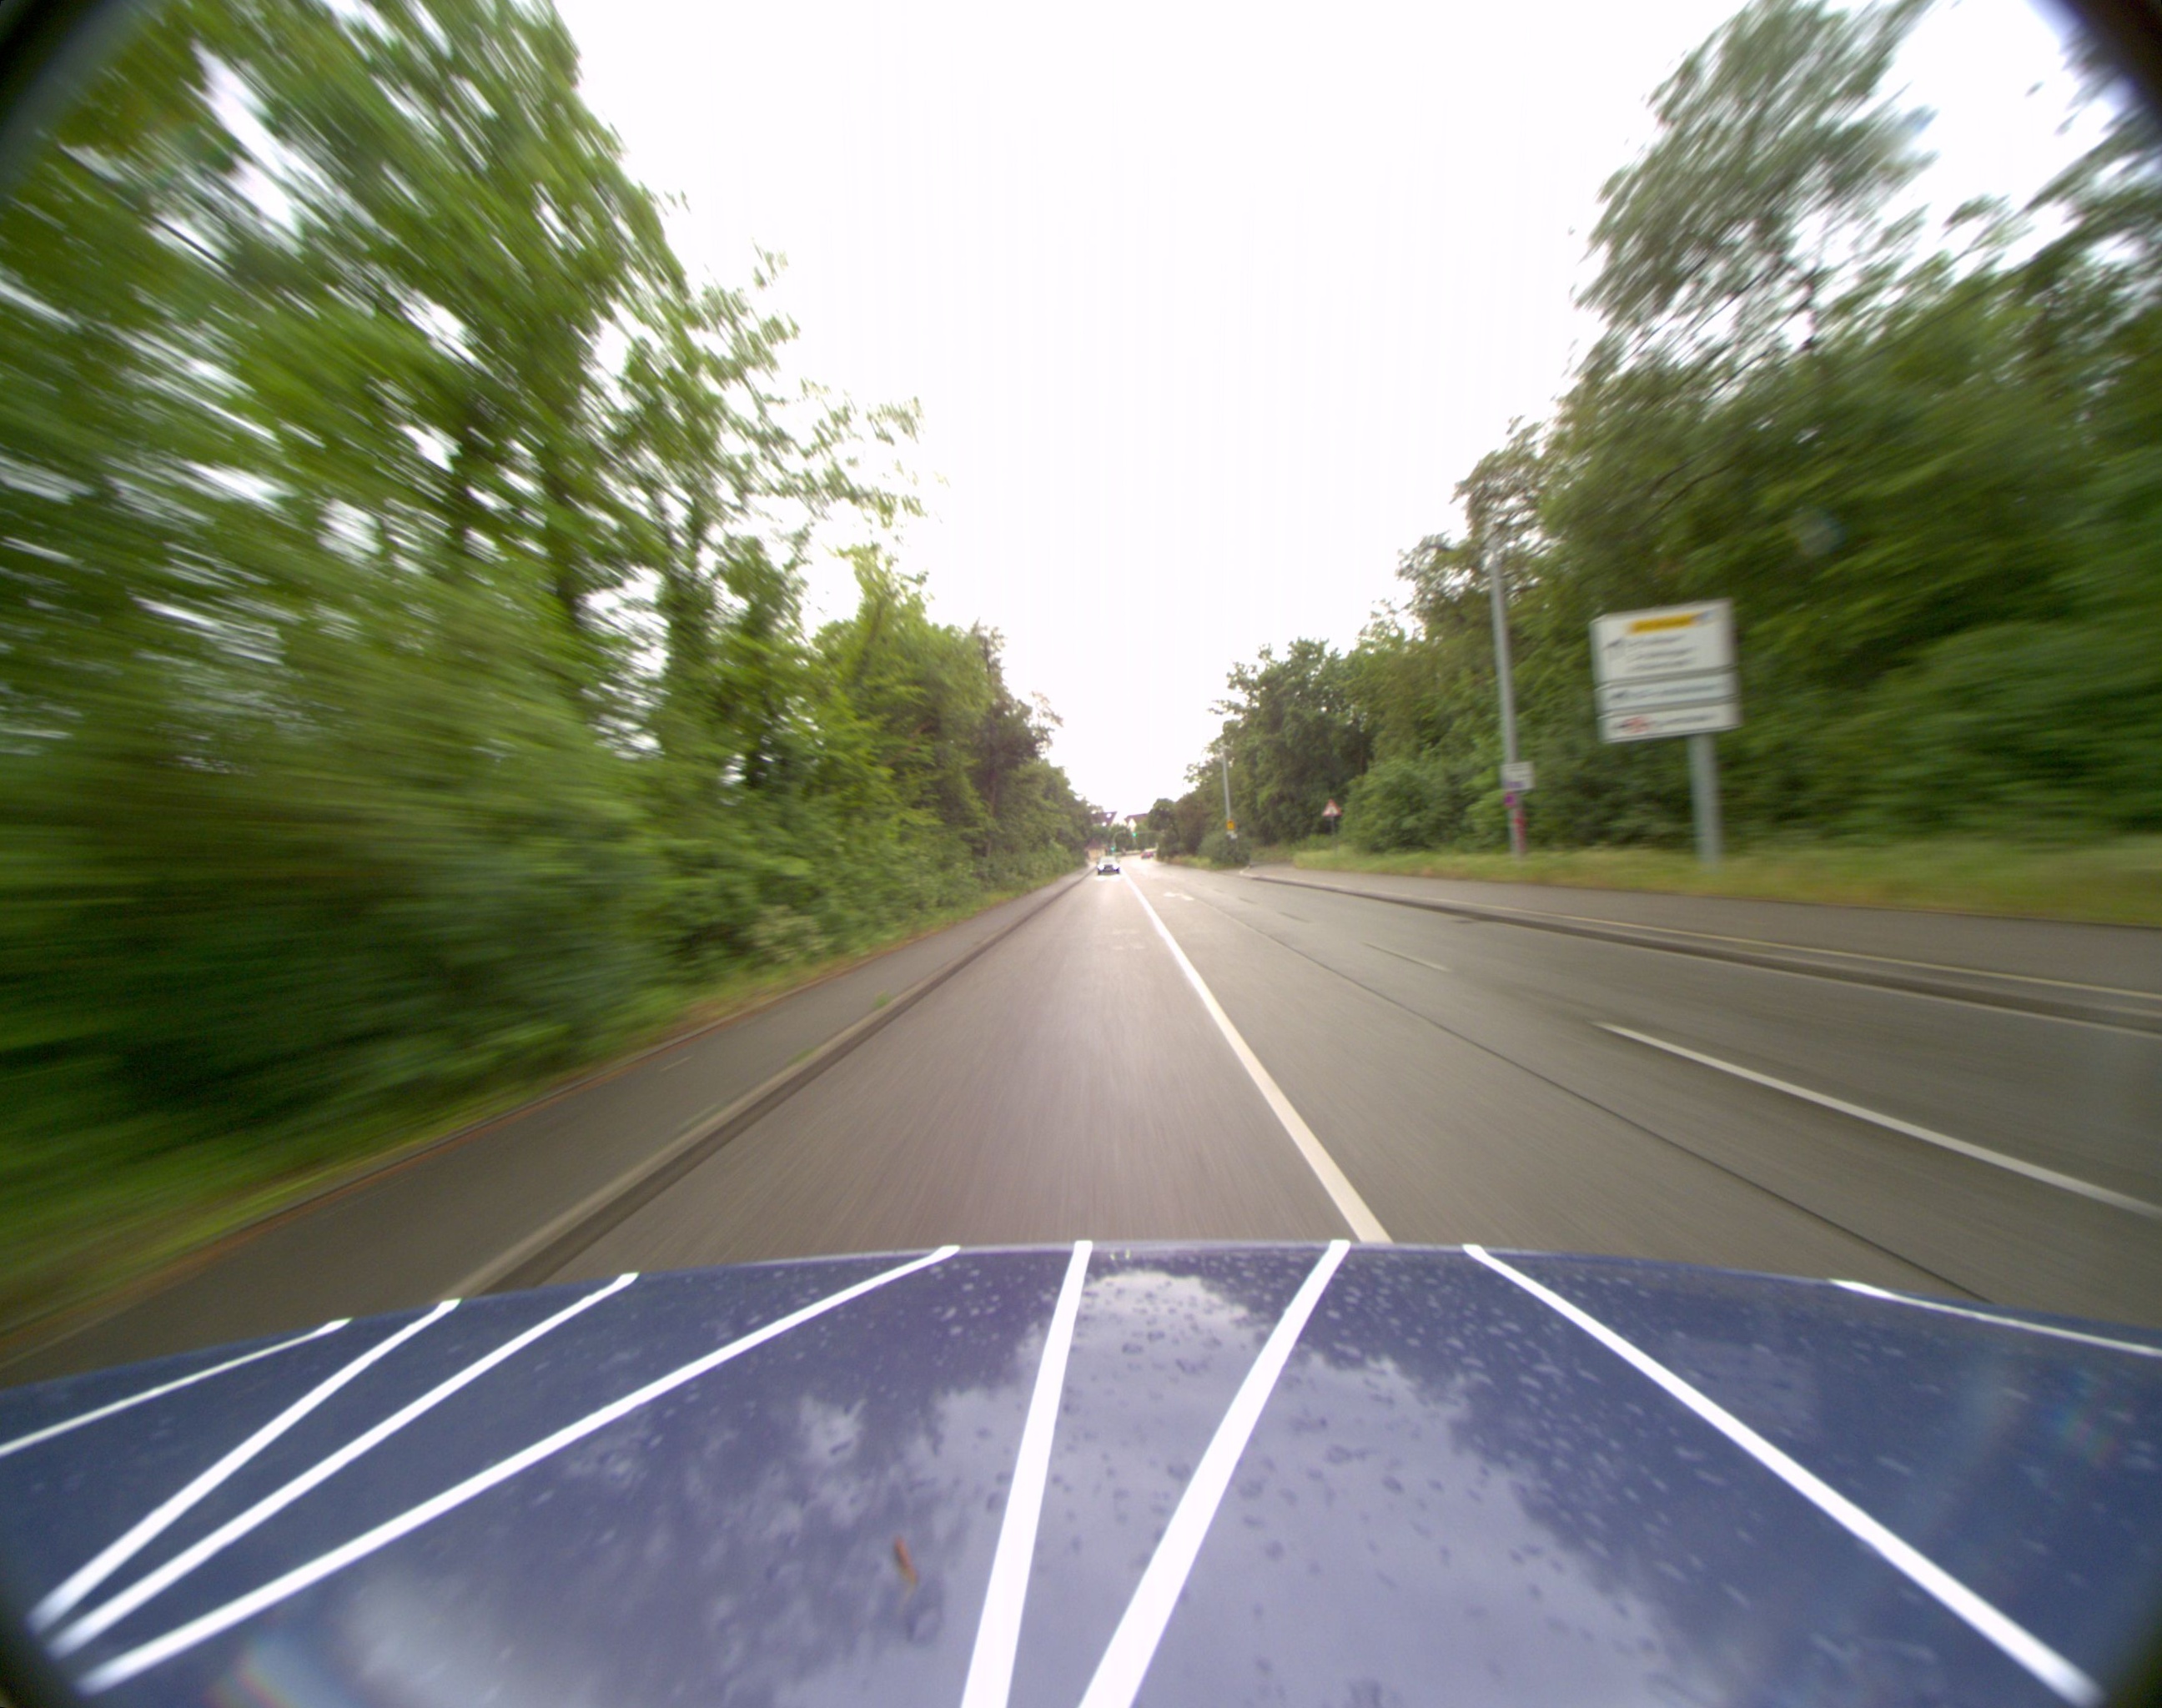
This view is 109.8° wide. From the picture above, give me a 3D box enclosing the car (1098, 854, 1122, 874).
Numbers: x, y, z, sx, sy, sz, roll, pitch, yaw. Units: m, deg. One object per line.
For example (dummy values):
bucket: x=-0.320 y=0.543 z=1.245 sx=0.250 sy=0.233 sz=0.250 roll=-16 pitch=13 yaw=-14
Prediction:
car: x=2.325 y=0.830 z=61.872 sx=1.831 sy=1.511 sz=4.001 roll=0 pitch=-2 yaw=1
